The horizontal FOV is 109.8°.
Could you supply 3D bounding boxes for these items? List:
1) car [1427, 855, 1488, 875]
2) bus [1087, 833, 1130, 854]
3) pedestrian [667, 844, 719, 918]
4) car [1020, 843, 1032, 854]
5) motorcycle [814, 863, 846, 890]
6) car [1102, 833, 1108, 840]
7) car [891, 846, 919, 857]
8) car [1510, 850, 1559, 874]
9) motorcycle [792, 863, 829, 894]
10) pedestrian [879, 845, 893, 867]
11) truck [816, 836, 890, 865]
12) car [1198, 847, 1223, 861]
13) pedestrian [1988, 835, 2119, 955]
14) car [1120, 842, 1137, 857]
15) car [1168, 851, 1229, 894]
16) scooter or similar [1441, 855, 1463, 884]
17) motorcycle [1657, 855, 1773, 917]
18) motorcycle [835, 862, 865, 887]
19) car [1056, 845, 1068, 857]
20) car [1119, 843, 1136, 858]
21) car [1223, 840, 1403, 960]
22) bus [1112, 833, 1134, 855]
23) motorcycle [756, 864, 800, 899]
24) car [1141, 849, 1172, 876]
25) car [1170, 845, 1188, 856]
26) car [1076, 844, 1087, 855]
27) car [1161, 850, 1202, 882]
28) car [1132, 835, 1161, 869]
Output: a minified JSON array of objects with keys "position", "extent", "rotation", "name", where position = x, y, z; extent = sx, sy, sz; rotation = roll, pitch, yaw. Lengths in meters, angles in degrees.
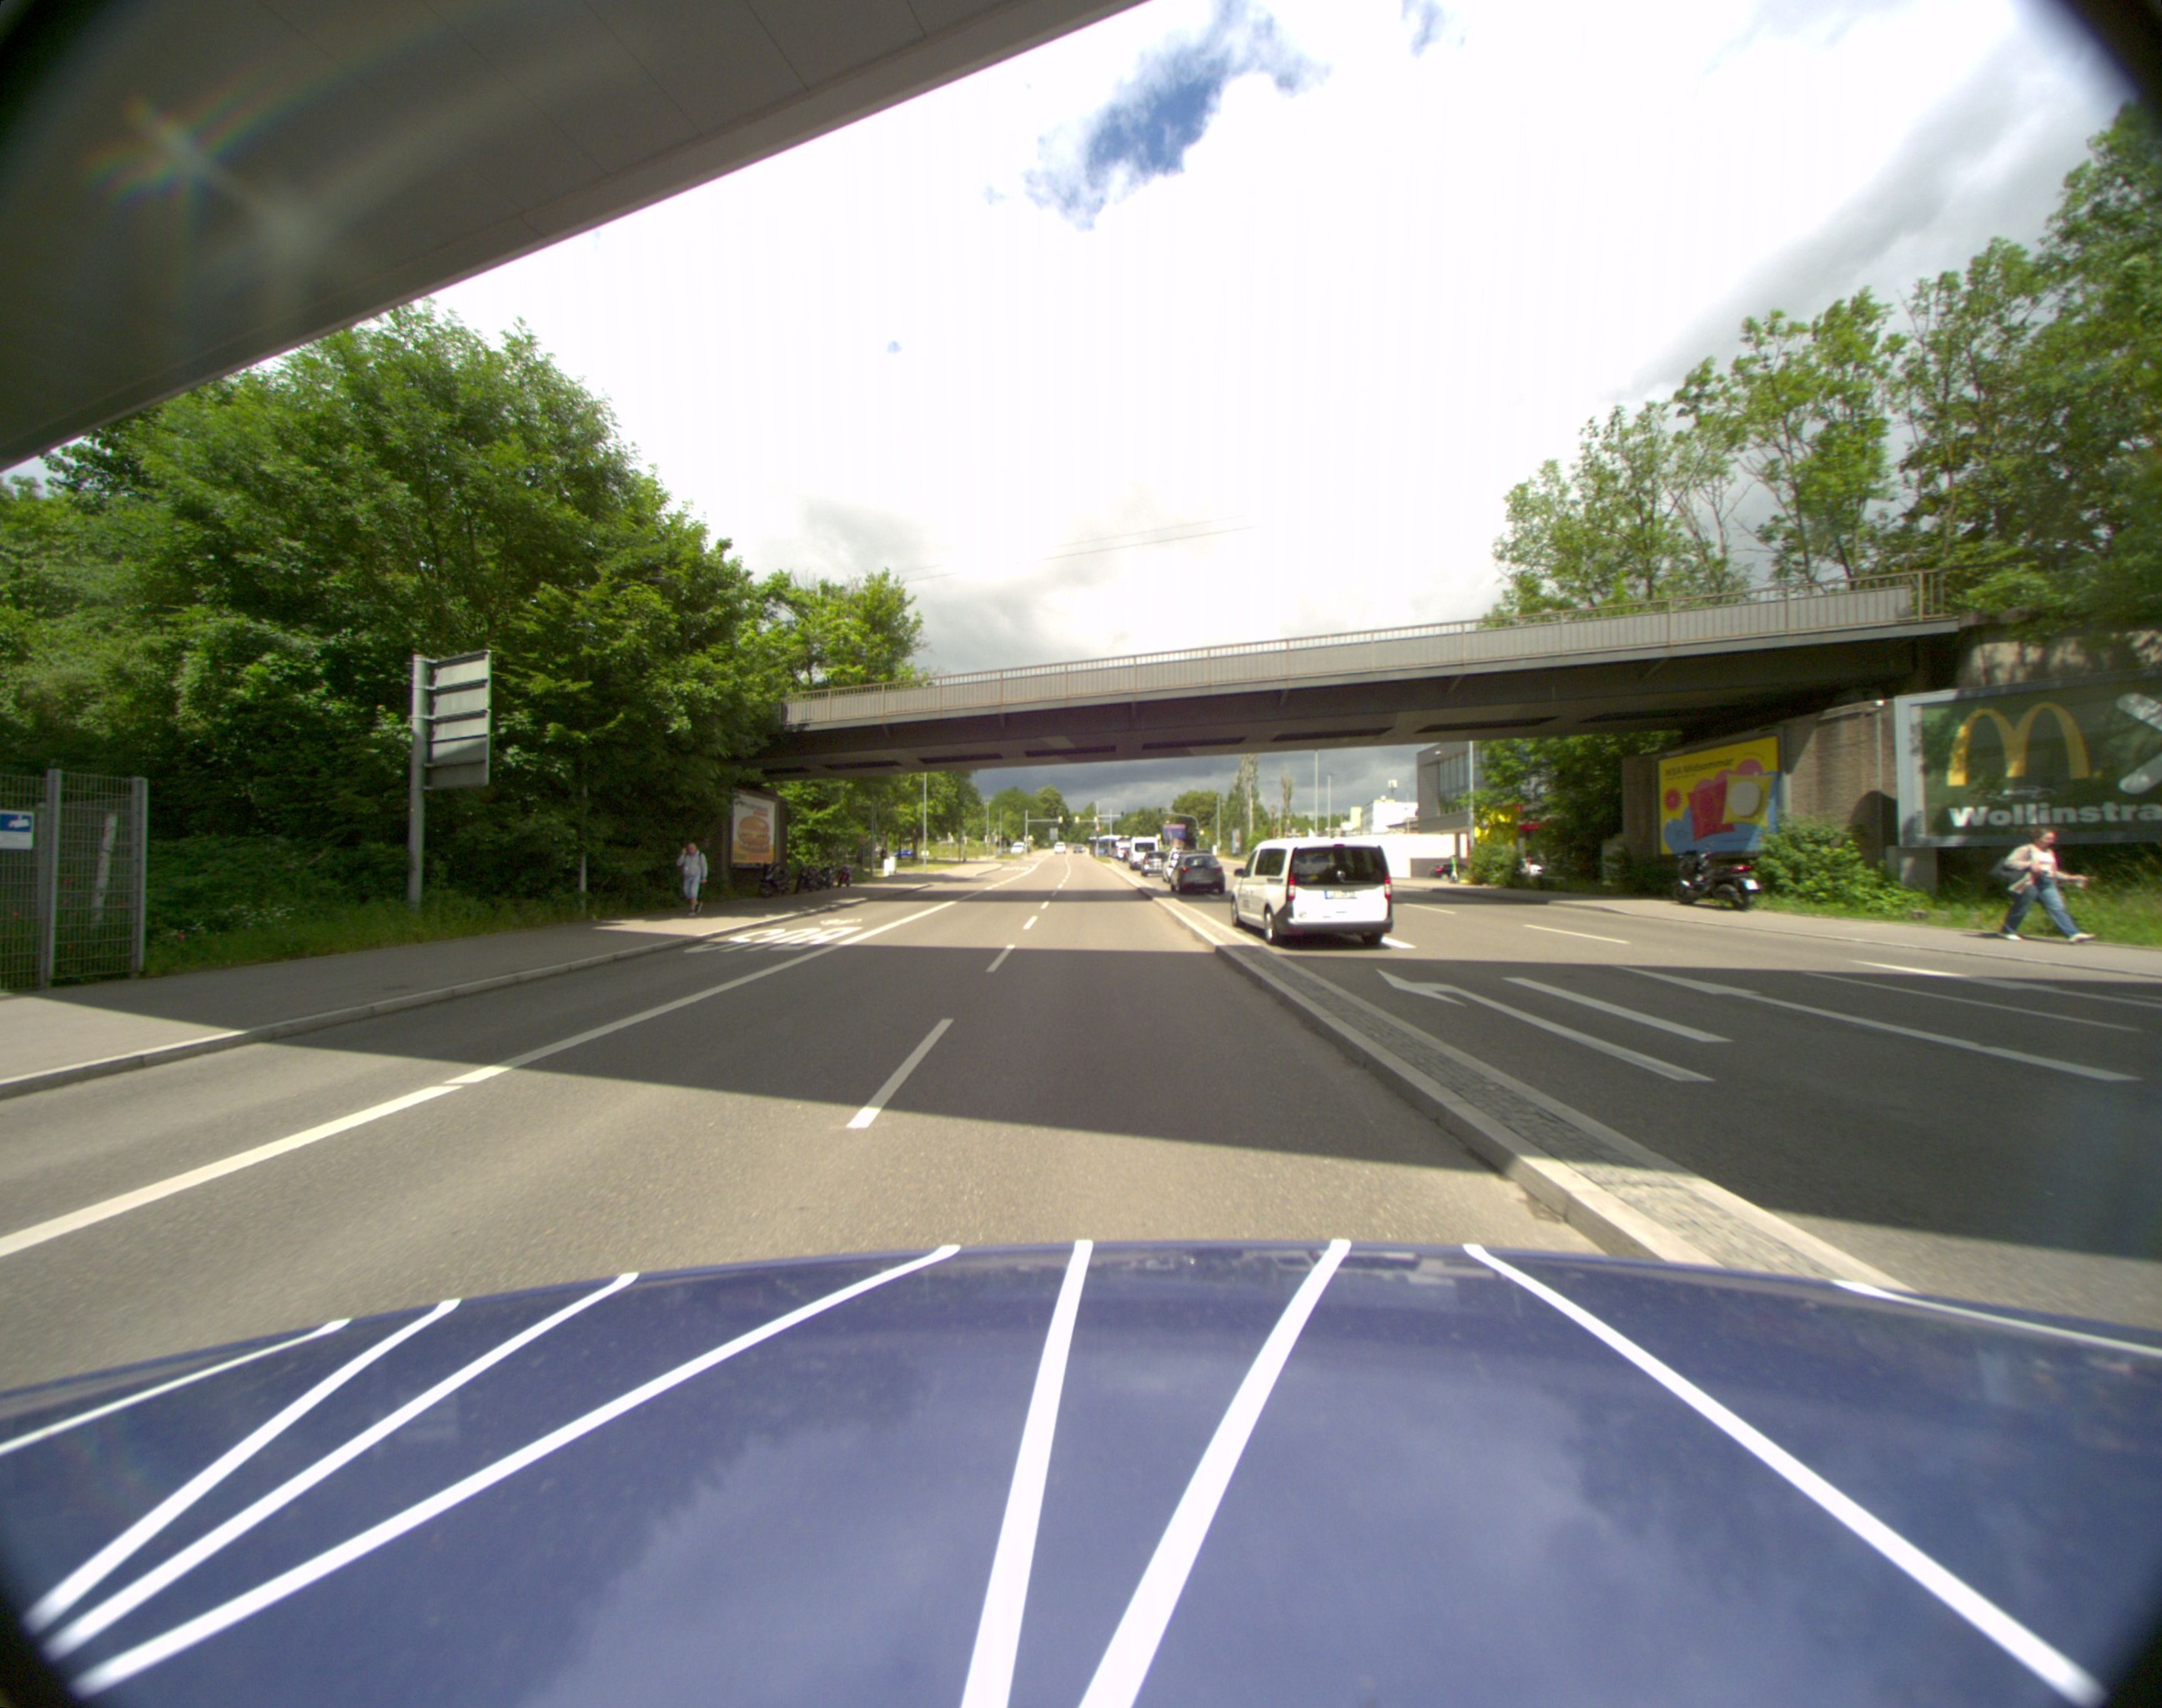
[{"position":[30.761,0.893,62.128],"extent":[3.997,1.608,1.959],"rotation":[0,1,-1],"name":"car"},{"position":[4.060,-1.567,115.458],"extent":[2.654,2.919,9.768],"rotation":[-3,1,-22],"name":"bus"},{"position":[-10.201,0.692,19.996],"extent":[0.791,1.877,1.097],"rotation":[0,1,0],"name":"pedestrian"},{"position":[-9.495,-0.900,131.884],"extent":[1.999,1.888,4.081],"rotation":[0,1,-3],"name":"car"},{"position":[-10.635,0.941,32.265],"extent":[0.679,1.076,2.038],"rotation":[0,0,0],"name":"motorcycle"},{"position":[7.728,-5.701,243.696],"extent":[1.998,2.002,4.000],"rotation":[-1,0,2],"name":"car"},{"position":[-28.292,-0.391,122.026],"extent":[4.079,1.735,2.000],"rotation":[0,1,0],"name":"car"},{"position":[30.758,0.504,51.609],"extent":[1.571,1.574,2.845],"rotation":[0,0,0],"name":"car"},{"position":[-10.628,0.941,29.913],"extent":[0.679,1.137,2.160],"rotation":[0,0,0],"name":"motorcycle"},{"position":[-15.961,0.150,62.208],"extent":[0.952,1.802,0.717],"rotation":[0,1,-22],"name":"pedestrian"},{"position":[-33.540,-0.543,112.058],"extent":[10.075,3.981,2.790],"rotation":[-1,0,4],"name":"truck"},{"position":[12.707,-0.031,74.746],"extent":[1.998,1.346,4.000],"rotation":[0,0,3],"name":"car"},{"position":[13.770,0.555,10.785],"extent":[0.769,1.603,0.813],"rotation":[-3,1,0],"name":"pedestrian"},{"position":[5.932,-0.599,95.071],"extent":[1.827,1.796,4.254],"rotation":[-2,0,0],"name":"car"},{"position":[4.372,0.650,28.796],"extent":[1.713,1.480,3.983],"rotation":[0,1,0],"name":"car"},{"position":[14.834,0.597,30.369],"extent":[0.477,1.114,1.385],"rotation":[0,1,12],"name":"scooter or similar"},{"position":[13.857,0.654,16.700],"extent":[0.641,1.191,2.257],"rotation":[-3,1,0],"name":"motorcycle"},{"position":[-10.571,0.936,34.820],"extent":[0.679,1.076,2.180],"rotation":[0,0,0],"name":"motorcycle"},{"position":[-3.581,-0.568,142.661],"extent":[1.999,2.267,3.998],"rotation":[-1,0,-4],"name":"car"},{"position":[5.219,-0.420,86.403],"extent":[1.640,1.582,4.254],"rotation":[-2,0,0],"name":"car"},{"position":[3.935,0.670,13.857],"extent":[1.812,1.770,4.977],"rotation":[-1,0,1],"name":"car"},{"position":[5.862,-1.445,107.393],"extent":[2.650,2.929,8.535],"rotation":[-2,1,0],"name":"bus"},{"position":[-10.911,0.971,27.421],"extent":[0.679,1.148,2.113],"rotation":[0,0,2],"name":"motorcycle"},{"position":[4.553,0.488,45.938],"extent":[1.572,1.522,2.737],"rotation":[-1,0,0],"name":"car"},{"position":[12.761,-0.478,99.019],"extent":[1.998,1.478,4.000],"rotation":[0,0,3],"name":"car"},{"position":[0.082,-0.792,144.300],"extent":[1.998,2.002,4.000],"rotation":[-1,0,1],"name":"car"},{"position":[4.896,0.568,37.374],"extent":[1.509,1.480,3.115],"rotation":[-1,1,-1],"name":"car"},{"position":[5.102,-0.187,59.523],"extent":[2.045,2.458,5.573],"rotation":[-1,0,4],"name":"car"}]
